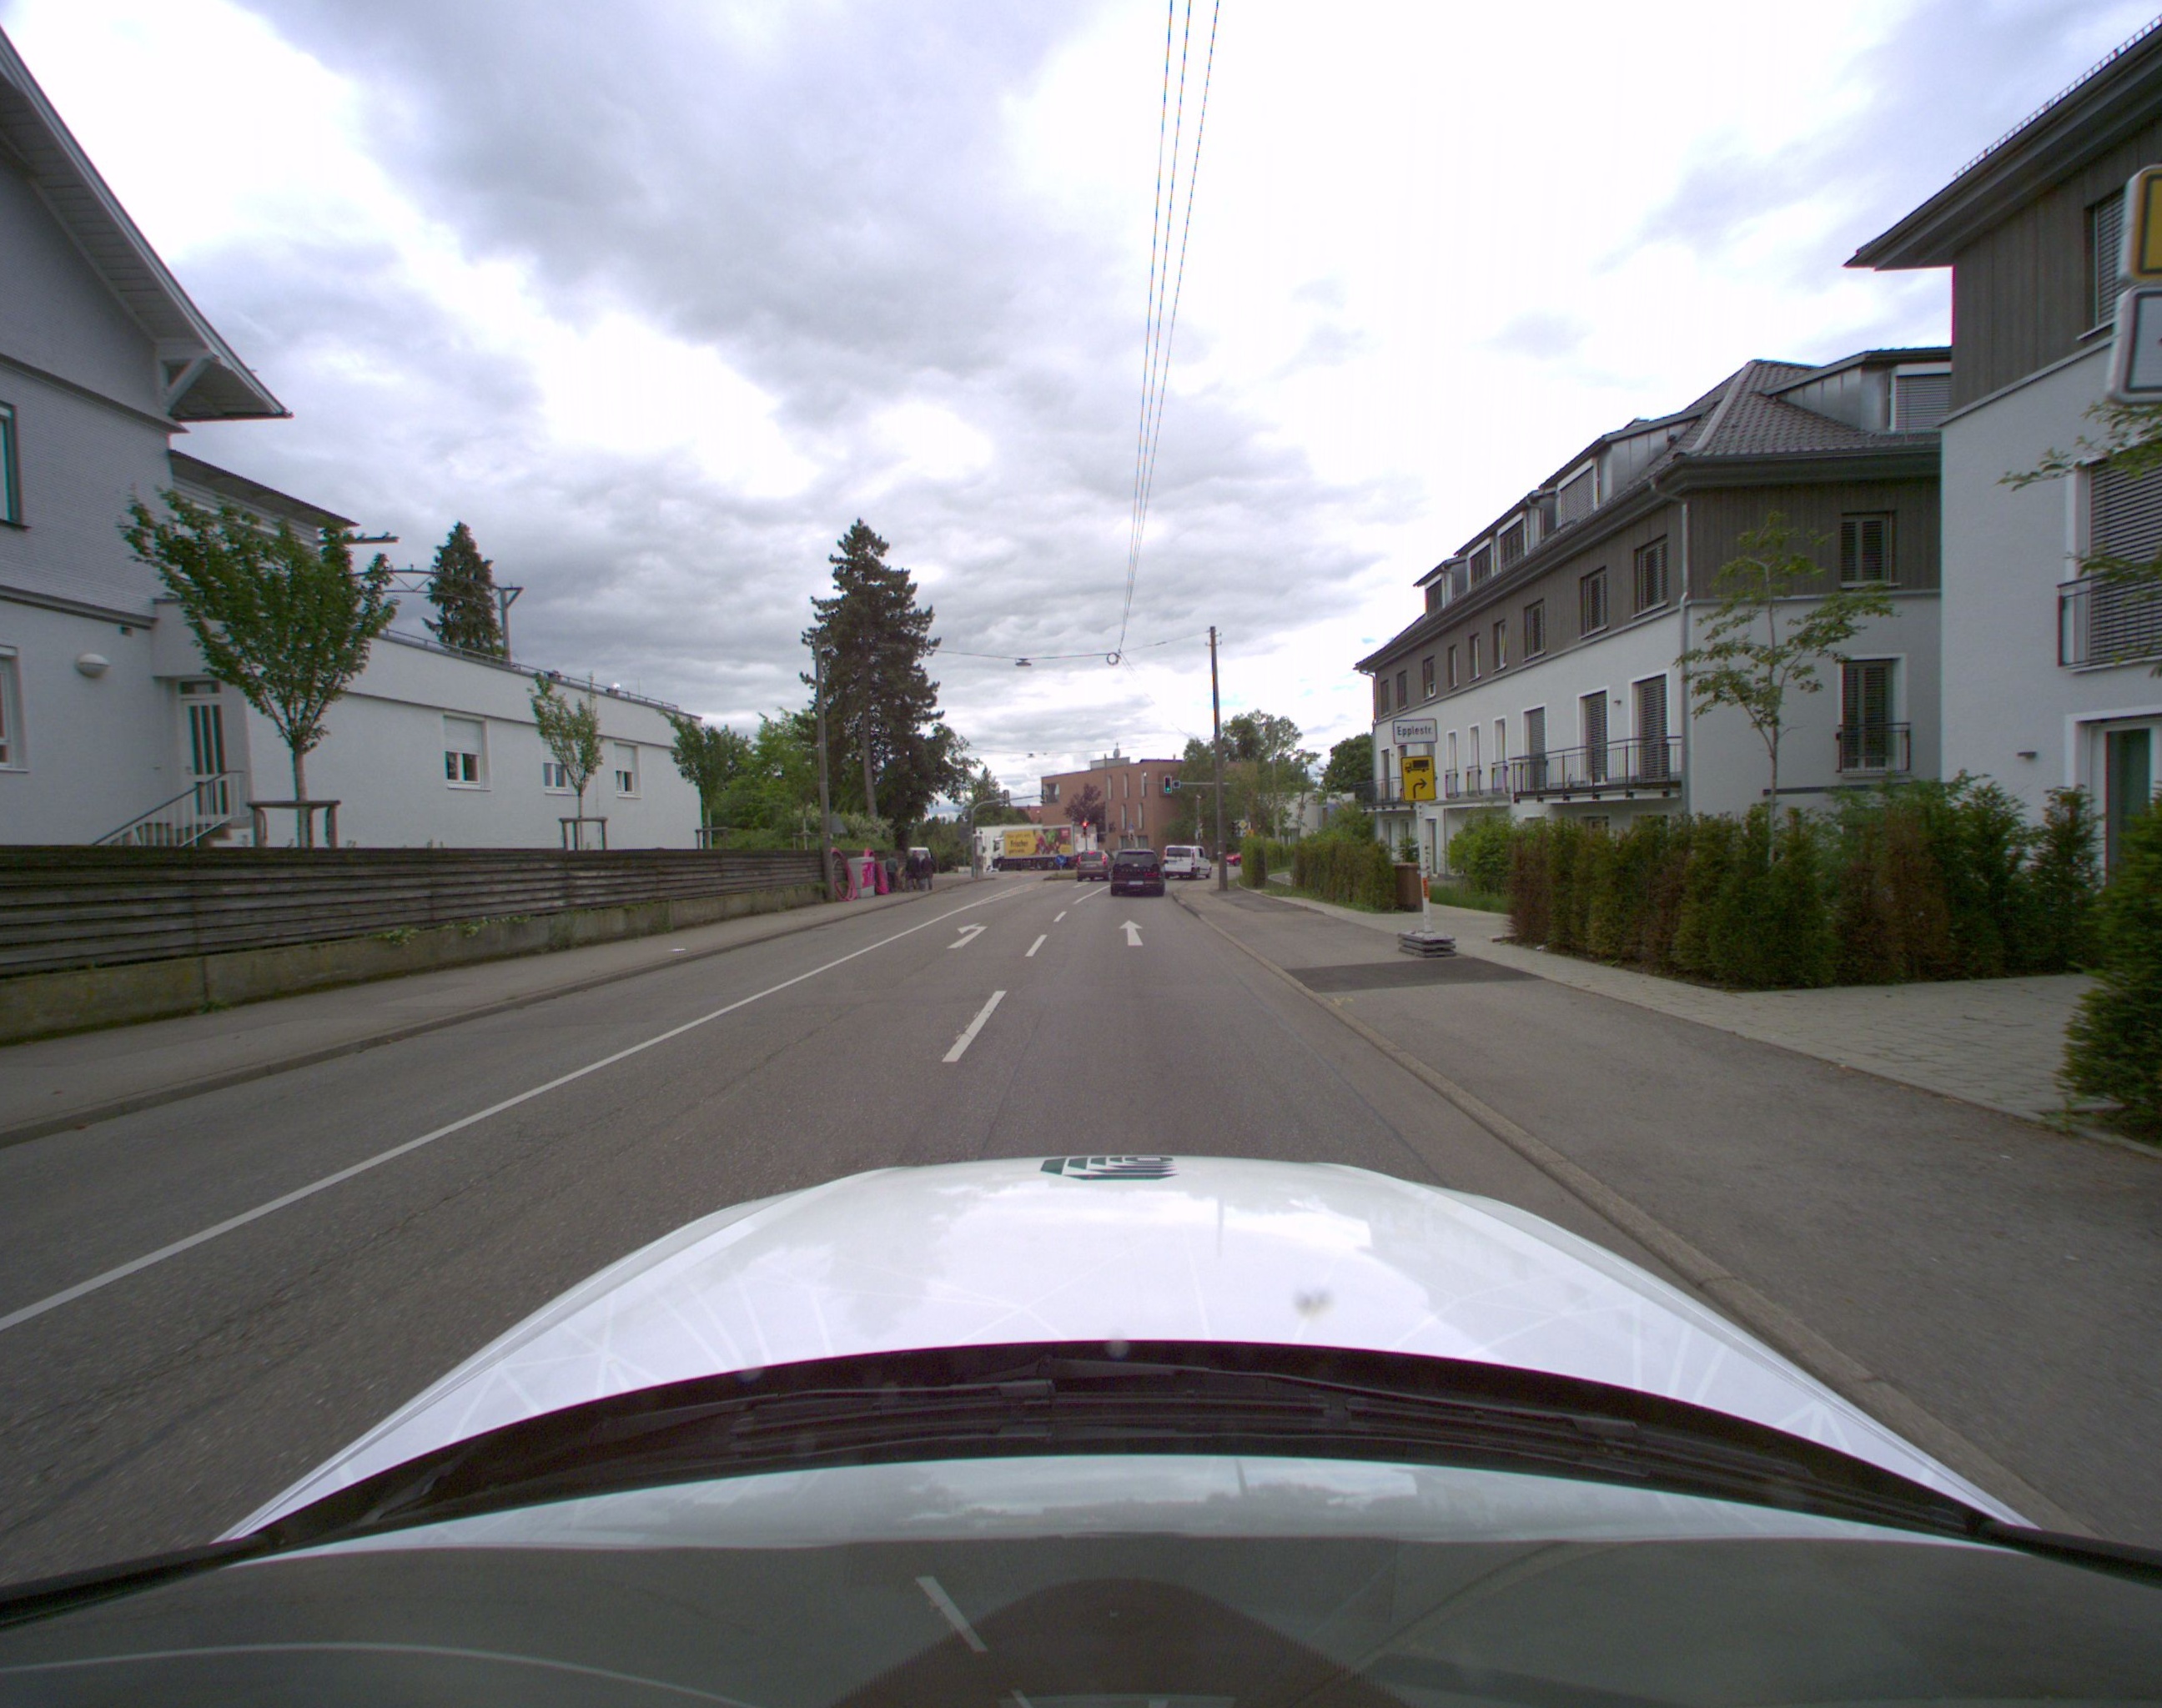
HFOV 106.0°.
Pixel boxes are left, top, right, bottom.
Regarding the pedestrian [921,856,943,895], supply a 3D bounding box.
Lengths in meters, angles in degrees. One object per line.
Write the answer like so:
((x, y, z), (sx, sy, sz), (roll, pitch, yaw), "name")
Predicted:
((-6.878, 0.988, 37.639), (0.872, 1.753, 0.689), (-1, -1, -22), "pedestrian")

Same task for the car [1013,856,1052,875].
((-5.685, 1.339, 95.180), (4.009, 2.014, 1.982), (-1, -1, -27), "car")

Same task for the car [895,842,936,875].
((-12.192, 0.320, 59.536), (2.286, 2.227, 6.433), (-1, 0, -17), "car")

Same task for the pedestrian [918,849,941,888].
((-6.931, 0.670, 37.203), (0.757, 1.734, 0.687), (-1, -1, -44), "pedestrian")

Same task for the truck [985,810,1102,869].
((-3.490, -1.128, 71.128), (3.154, 4.734, 11.648), (-1, 0, -44), "truck")

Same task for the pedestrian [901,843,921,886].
((-8.112, 0.500, 38.905), (0.701, 2.014, 0.814), (-1, 0, 5), "pedestrian")

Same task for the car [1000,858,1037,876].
((-7.610, 1.530, 99.514), (4.008, 2.013, 1.983), (-2, 0, -26), "car")

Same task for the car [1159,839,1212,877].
((5.991, 0.168, 46.156), (1.945, 2.013, 4.451), (2, 1, 21), "car")

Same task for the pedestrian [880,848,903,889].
((-8.334, 0.642, 35.816), (0.818, 1.763, 0.861), (-1, 0, -21), "pedestrian")

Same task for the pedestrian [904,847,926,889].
((-7.327, 0.609, 35.933), (0.754, 1.837, 0.609), (-1, -1, -27), "pedestrian")

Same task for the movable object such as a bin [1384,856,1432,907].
((7.153, 0.596, 17.818), (0.719, 1.073, 0.675), (1, -2, -35), "movable object such as a bin")

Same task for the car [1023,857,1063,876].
((-4.339, 1.381, 92.426), (4.008, 2.013, 1.983), (-1, 0, -27), "car")

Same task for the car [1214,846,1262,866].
((13.498, 0.163, 69.964), (4.242, 1.564, 1.975), (-1, -1, -45), "car")

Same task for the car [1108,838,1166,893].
((2.016, 0.399, 30.329), (1.986, 1.881, 4.002), (1, 0, 2), "car")

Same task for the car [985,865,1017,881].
((-10.744, 2.487, 109.723), (3.993, 2.013, 1.990), (-1, 0, -15), "car")

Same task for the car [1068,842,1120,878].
((0.736, 0.305, 42.637), (1.880, 1.706, 4.014), (-2, 0, 13), "car")
